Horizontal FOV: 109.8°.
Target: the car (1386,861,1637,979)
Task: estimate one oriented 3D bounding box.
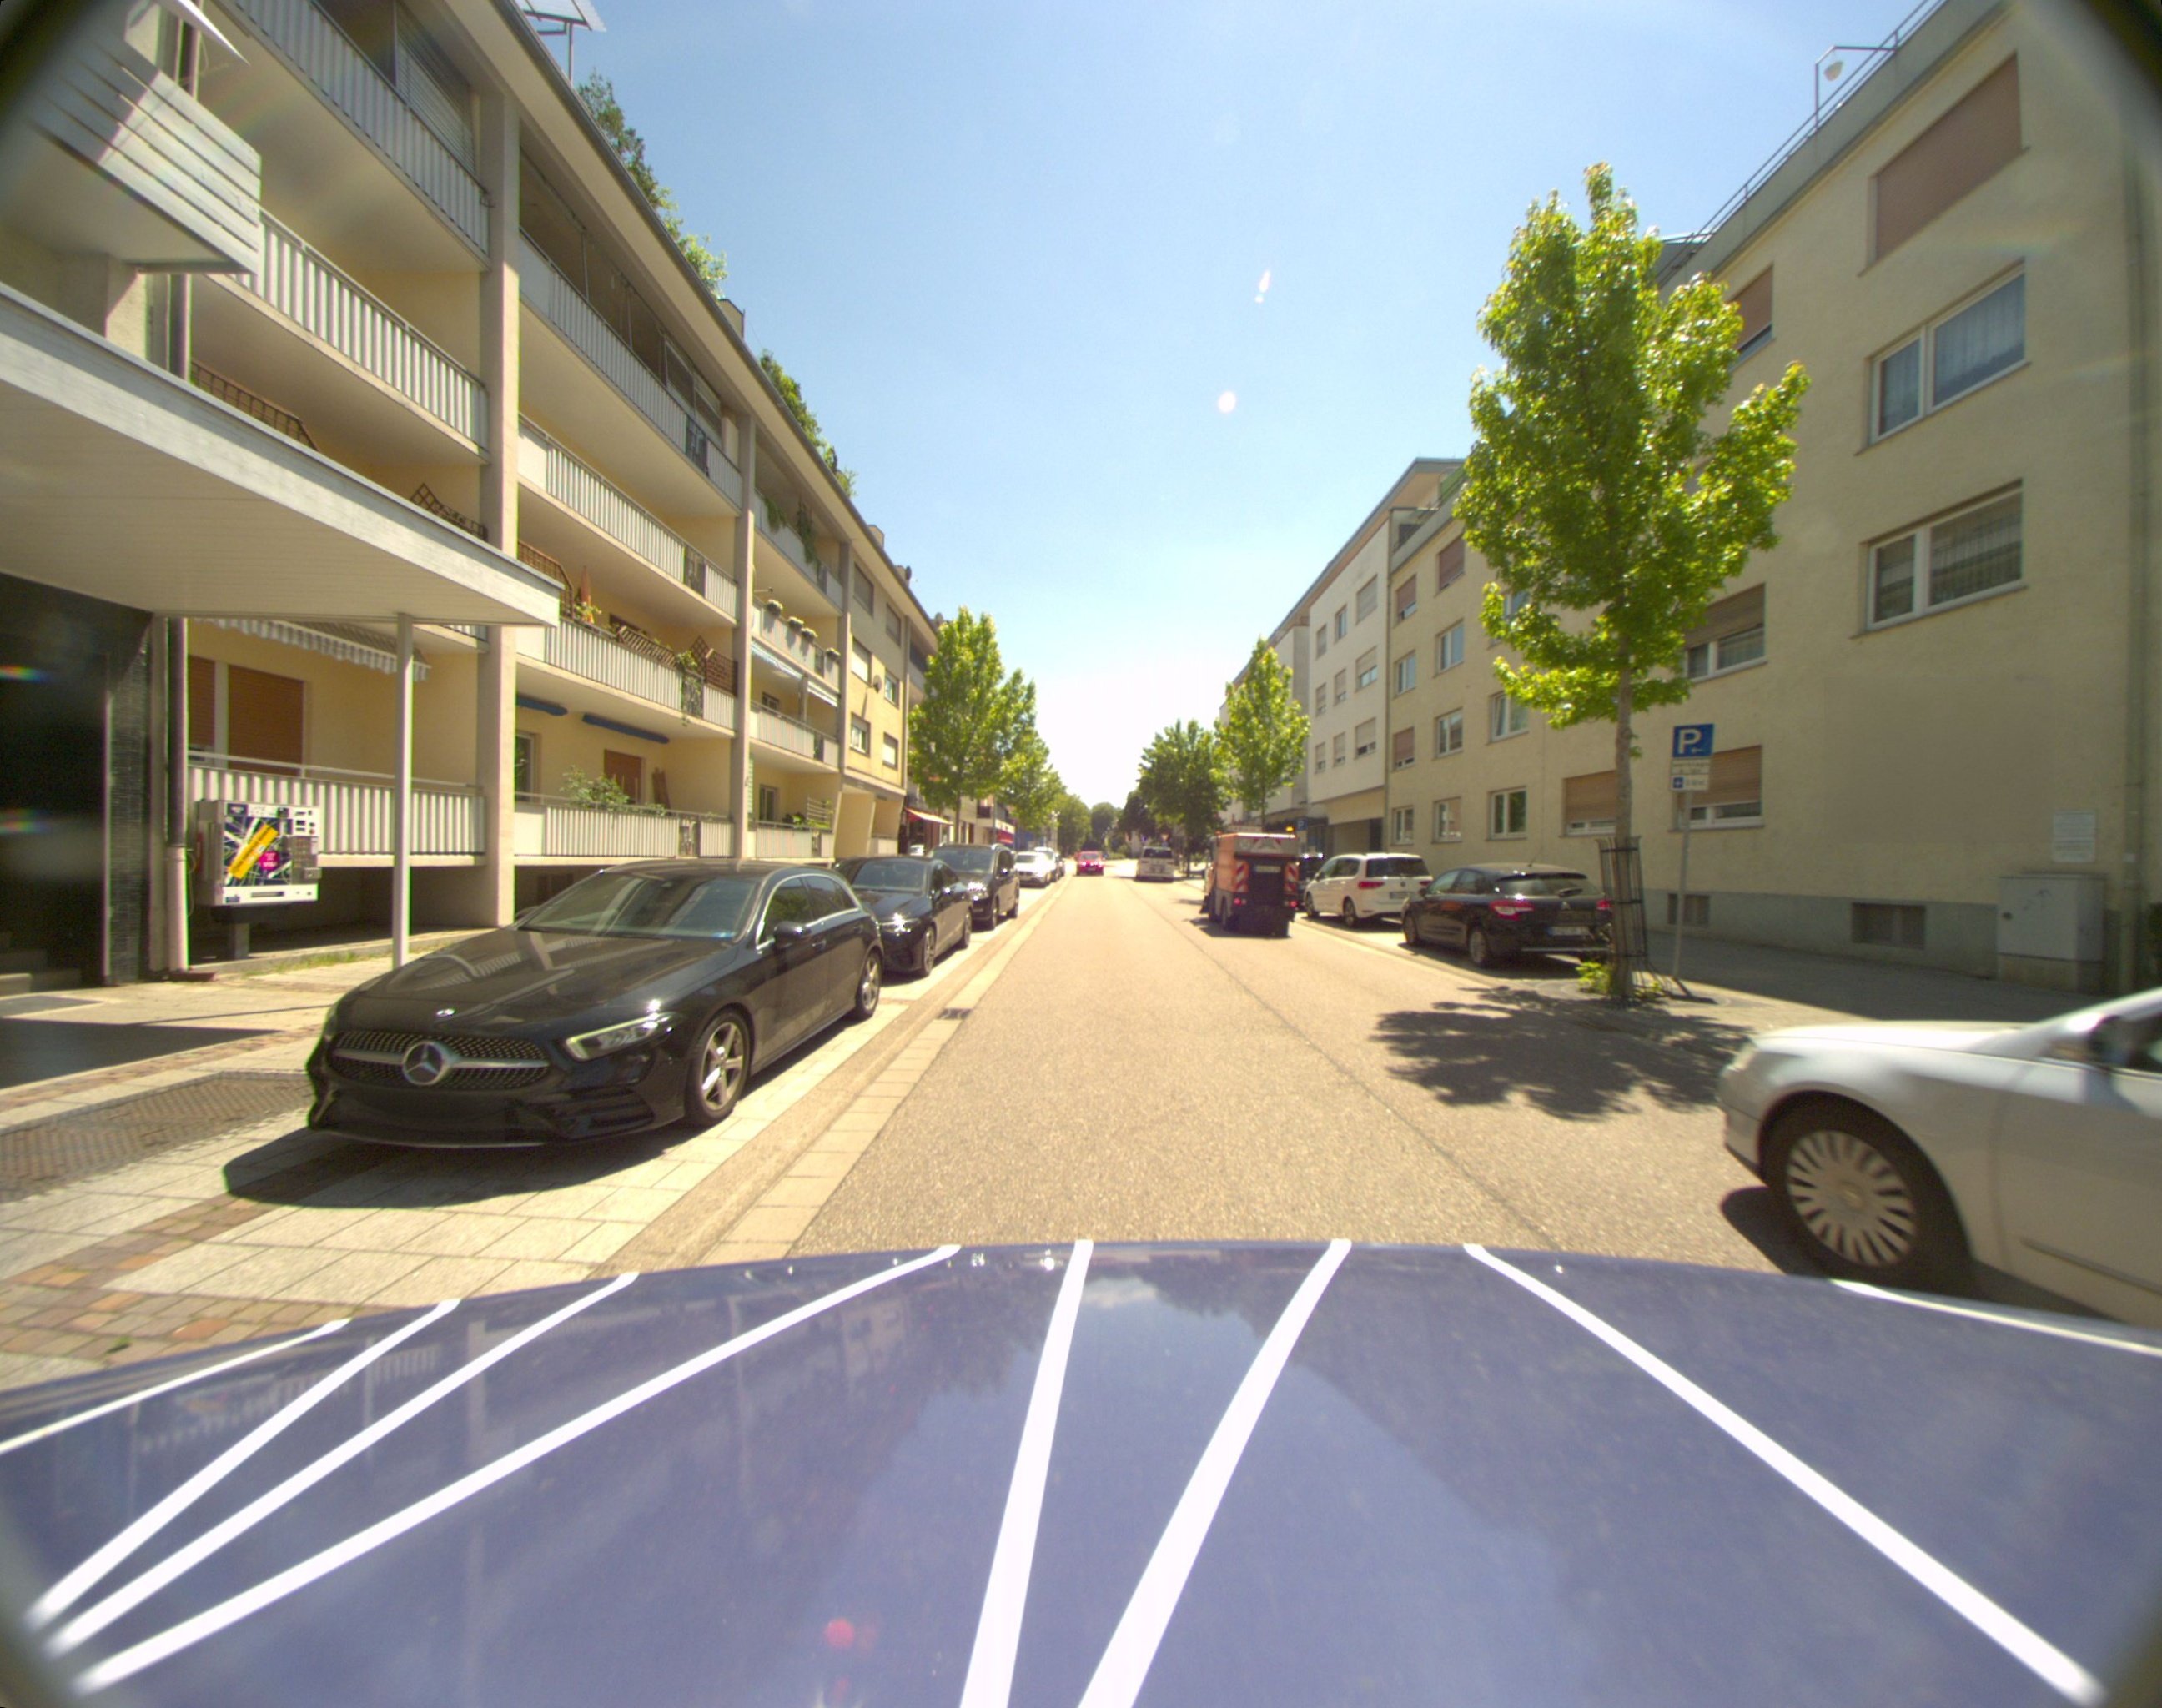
[{"bbox_3d":[6.518,0.892,12.153,1.758,1.465,4.322,-1,0,3],"label":"car"}]

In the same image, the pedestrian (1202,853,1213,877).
[{"bbox_3d":[7.581,0.652,45.438,0.568,1.364,0.667,2,2,10],"label":"pedestrian"}]

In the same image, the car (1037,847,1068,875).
[{"bbox_3d":[-1.677,0.374,45.484,1.626,1.550,3.840,1,1,1],"label":"car"}]

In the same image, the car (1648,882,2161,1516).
[{"bbox_3d":[3.562,0.835,1.073,1.954,1.499,4.798,2,-2,1],"label":"car"}]

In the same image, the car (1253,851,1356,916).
[{"bbox_3d":[6.603,0.799,22.946,1.733,1.730,4.392,-2,0,0],"label":"car"}]

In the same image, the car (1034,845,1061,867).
[{"bbox_3d":[-2.798,0.117,63.522,1.753,1.714,3.906,2,1,-9],"label":"car"}]

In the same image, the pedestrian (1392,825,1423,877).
[{"bbox_3d":[10.877,-0.090,25.327,0.658,1.670,0.630,3,-1,-17],"label":"pedestrian"}]

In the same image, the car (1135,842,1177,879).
[{"bbox_3d":[4.205,0.324,43.096,1.911,1.911,4.905,2,1,1],"label":"car"}]

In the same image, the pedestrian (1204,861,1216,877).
[{"bbox_3d":[7.606,0.894,44.780,0.666,0.854,0.733,2,5,10],"label":"pedestrian"}]

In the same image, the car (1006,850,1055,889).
[{"bbox_3d":[-2.227,0.647,34.786,1.726,1.574,4.225,2,1,2],"label":"car"}]

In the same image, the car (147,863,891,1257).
[{"bbox_3d":[-2.784,0.849,5.122,1.849,1.406,4.162,2,1,1],"label":"car"}]

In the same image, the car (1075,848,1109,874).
[{"bbox_3d":[0.743,0.442,48.376,1.833,1.524,4.001,-2,0,4],"label":"car"}]

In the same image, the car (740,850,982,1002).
[{"bbox_3d":[-2.687,0.771,10.523,1.899,1.521,4.568,2,1,1],"label":"car"}]

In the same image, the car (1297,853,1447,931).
[{"bbox_3d":[6.676,0.792,17.965,1.829,1.610,4.392,0,0,0],"label":"car"}]

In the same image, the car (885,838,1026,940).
[{"bbox_3d":[-2.480,0.647,16.248,1.998,1.788,4.570,2,0,3],"label":"car"}]

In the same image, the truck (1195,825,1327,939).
[{"bbox_3d":[3.785,0.542,16.861,1.809,2.105,4.715,2,0,1],"label":"truck"}]

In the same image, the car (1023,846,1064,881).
[{"bbox_3d":[-1.930,0.474,40.584,1.768,1.696,4.705,2,1,1],"label":"car"}]

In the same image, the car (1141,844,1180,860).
[{"bbox_3d":[8.916,-0.185,85.698,4.001,1.554,1.803,3,-2,-10],"label":"car"}]
